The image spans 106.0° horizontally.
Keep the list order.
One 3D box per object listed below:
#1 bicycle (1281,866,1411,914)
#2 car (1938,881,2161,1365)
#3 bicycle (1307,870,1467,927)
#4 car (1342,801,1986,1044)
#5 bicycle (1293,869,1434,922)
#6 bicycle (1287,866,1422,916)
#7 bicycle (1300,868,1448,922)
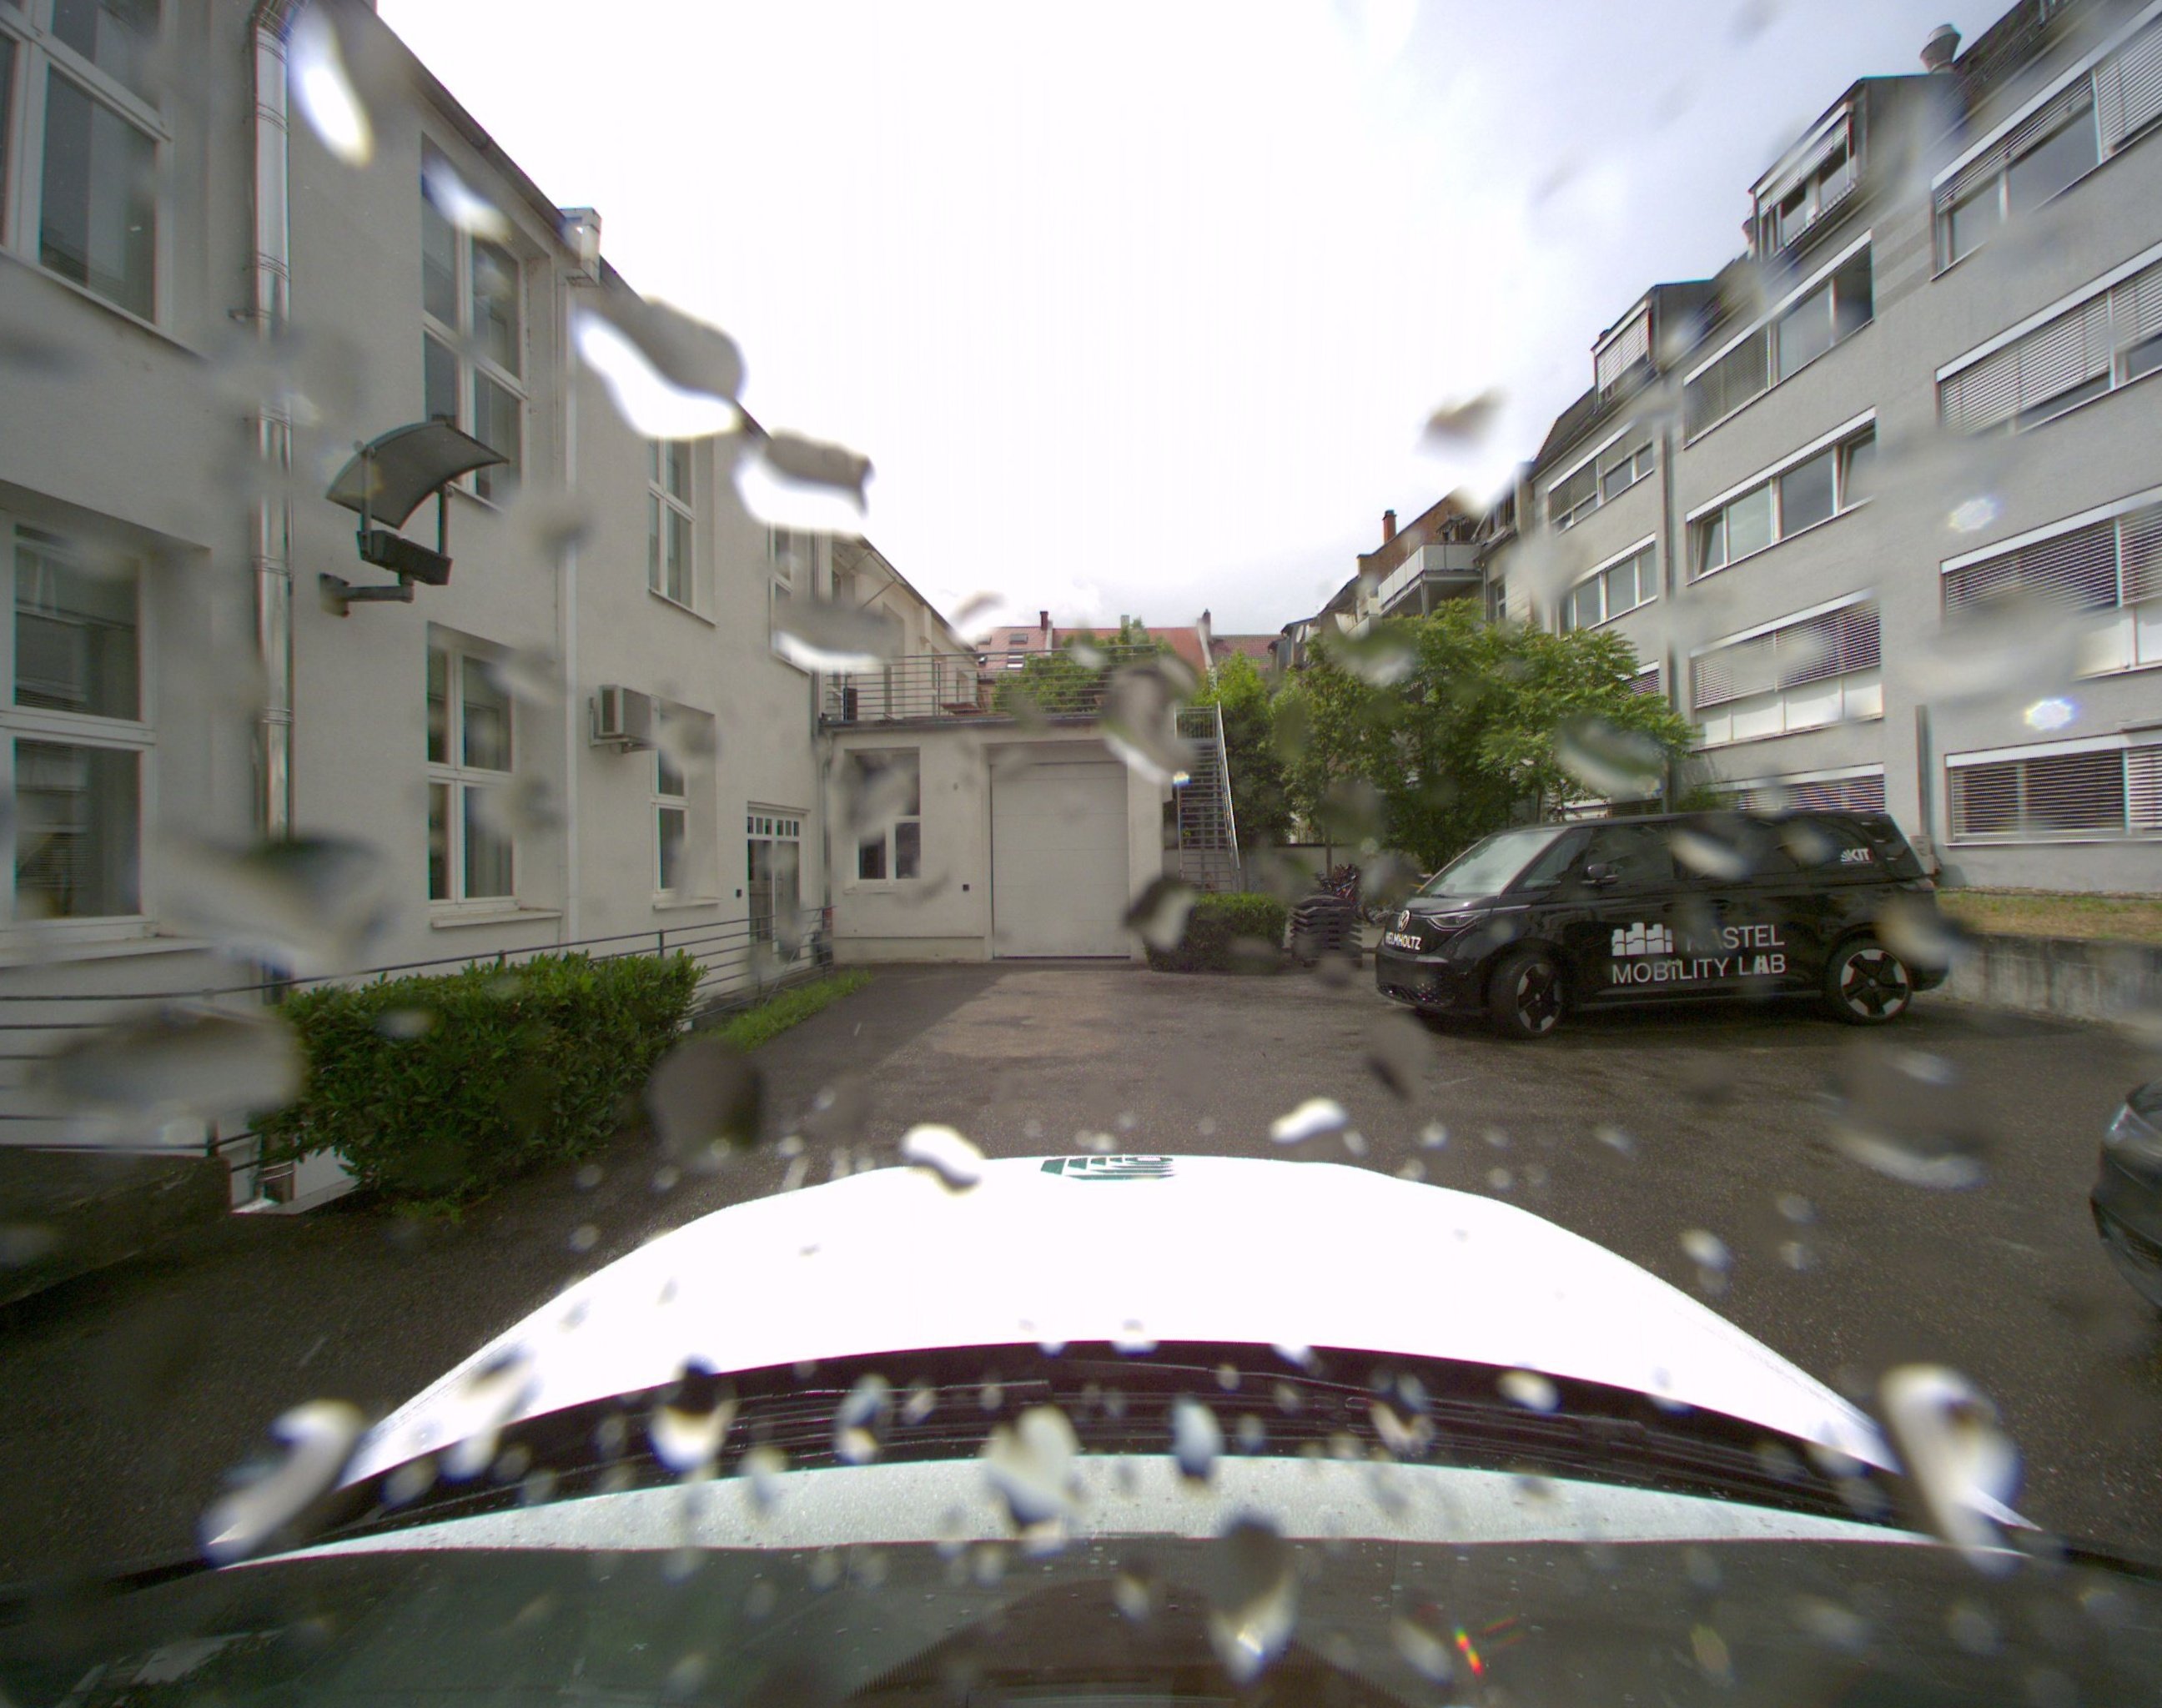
[{"bbox_3d":[6.218,0.835,19.192,2.831,1.078,0.690,0,0,2],"label":"bicycle"},{"bbox_3d":[5.266,0.734,2.041,4.341,1.348,1.859,-2,0,-1],"label":"car"},{"bbox_3d":[6.050,0.867,16.213,2.911,1.078,0.690,0,0,2],"label":"bicycle"},{"bbox_3d":[5.223,0.566,7.852,4.696,1.833,2.110,-2,-1,-1],"label":"car"},{"bbox_3d":[6.132,0.892,17.771,2.831,1.078,0.690,0,0,2],"label":"bicycle"},{"bbox_3d":[6.176,0.830,18.484,2.831,1.078,0.690,0,0,2],"label":"bicycle"},{"bbox_3d":[6.099,0.845,17.047,2.831,1.078,0.690,0,0,2],"label":"bicycle"}]
